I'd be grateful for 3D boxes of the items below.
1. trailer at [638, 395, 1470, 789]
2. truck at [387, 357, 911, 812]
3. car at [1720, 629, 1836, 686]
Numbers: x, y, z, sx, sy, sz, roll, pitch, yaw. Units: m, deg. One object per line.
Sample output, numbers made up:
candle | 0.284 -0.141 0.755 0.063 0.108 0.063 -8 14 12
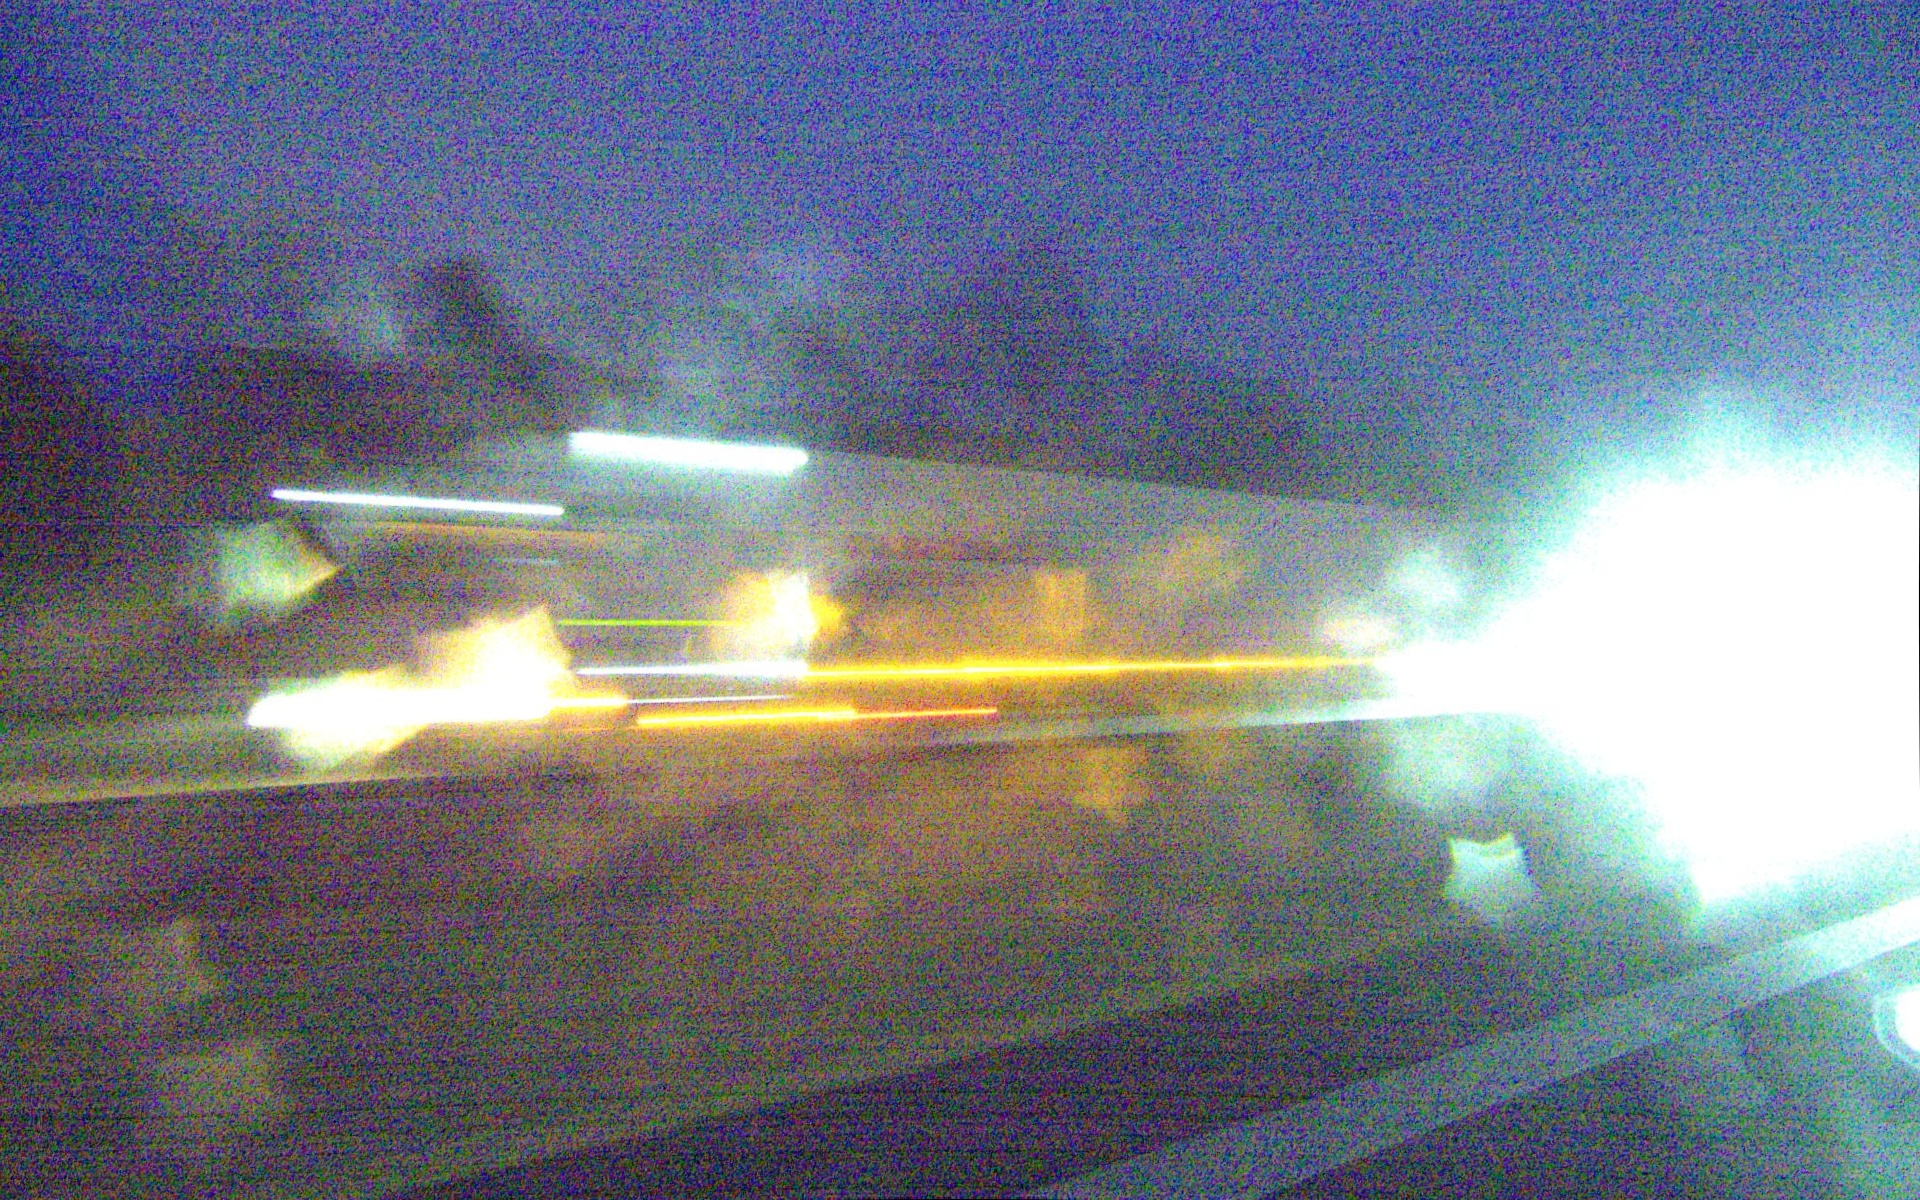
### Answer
trailer | 2.553 0.055 16.161 14.461 4.436 2.677 1 0 -31
truck | -3.760 -0.101 12.404 5.668 4.440 2.677 1 0 -30
car | 30.654 2.137 37.615 4.339 2.040 1.984 2 -2 -30
